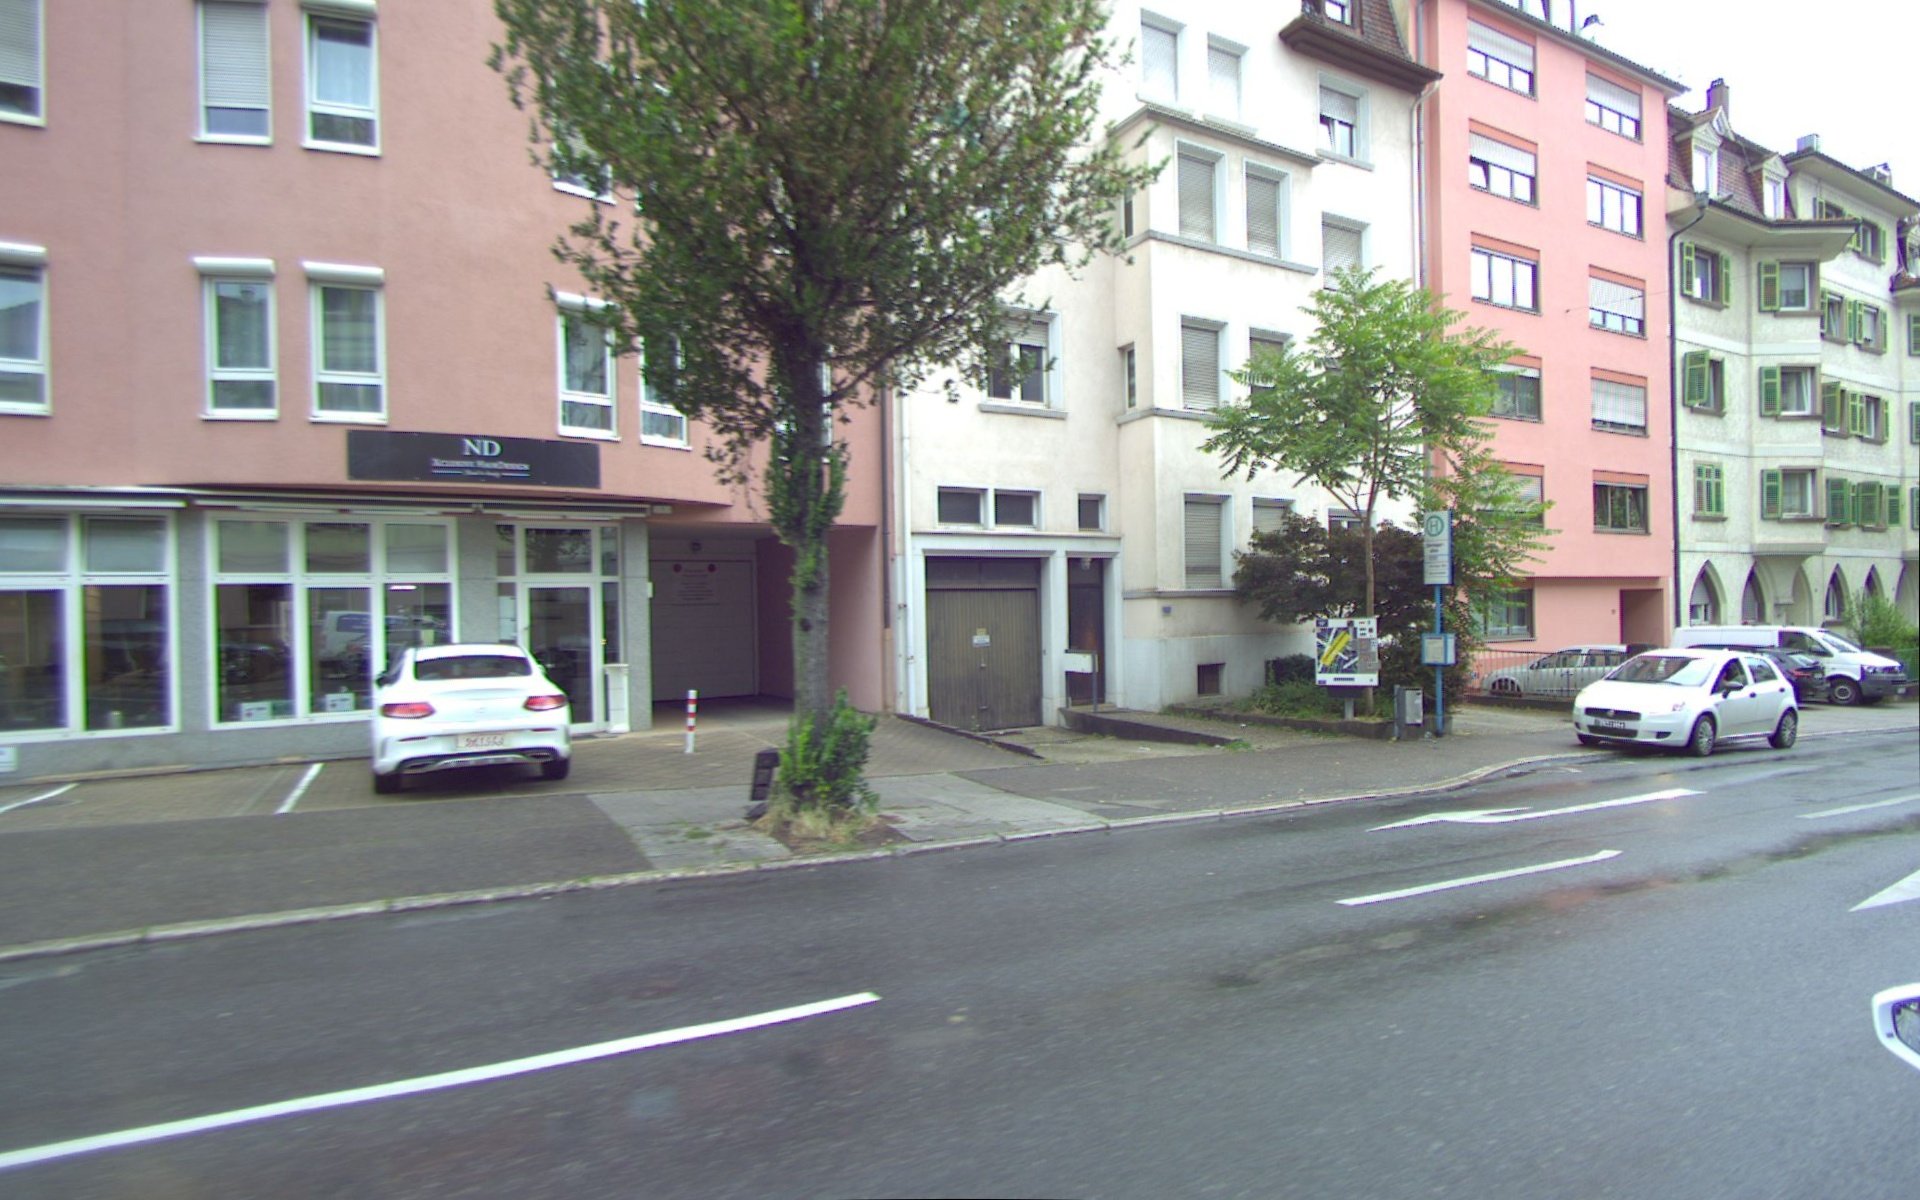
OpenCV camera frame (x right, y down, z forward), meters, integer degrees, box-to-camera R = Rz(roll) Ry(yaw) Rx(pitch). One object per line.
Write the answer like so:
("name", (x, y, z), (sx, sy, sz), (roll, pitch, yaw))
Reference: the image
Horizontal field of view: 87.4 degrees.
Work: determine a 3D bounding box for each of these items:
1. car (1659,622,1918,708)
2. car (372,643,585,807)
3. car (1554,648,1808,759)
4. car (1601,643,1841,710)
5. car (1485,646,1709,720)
("car", (21.337, 1.629, 26.121), (2.023, 1.999, 4.808), (1, -3, -29))
("car", (-5.474, 1.195, 11.175), (1.747, 1.419, 4.528), (1, -3, -29))
("car", (10.986, 1.482, 15.259), (3.956, 1.465, 1.614), (2, -2, -29))
("car", (18.677, 1.819, 24.879), (1.772, 1.470, 4.409), (2, -3, -31))
("car", (14.065, 1.772, 22.364), (1.775, 1.476, 3.854), (2, -3, -36))
